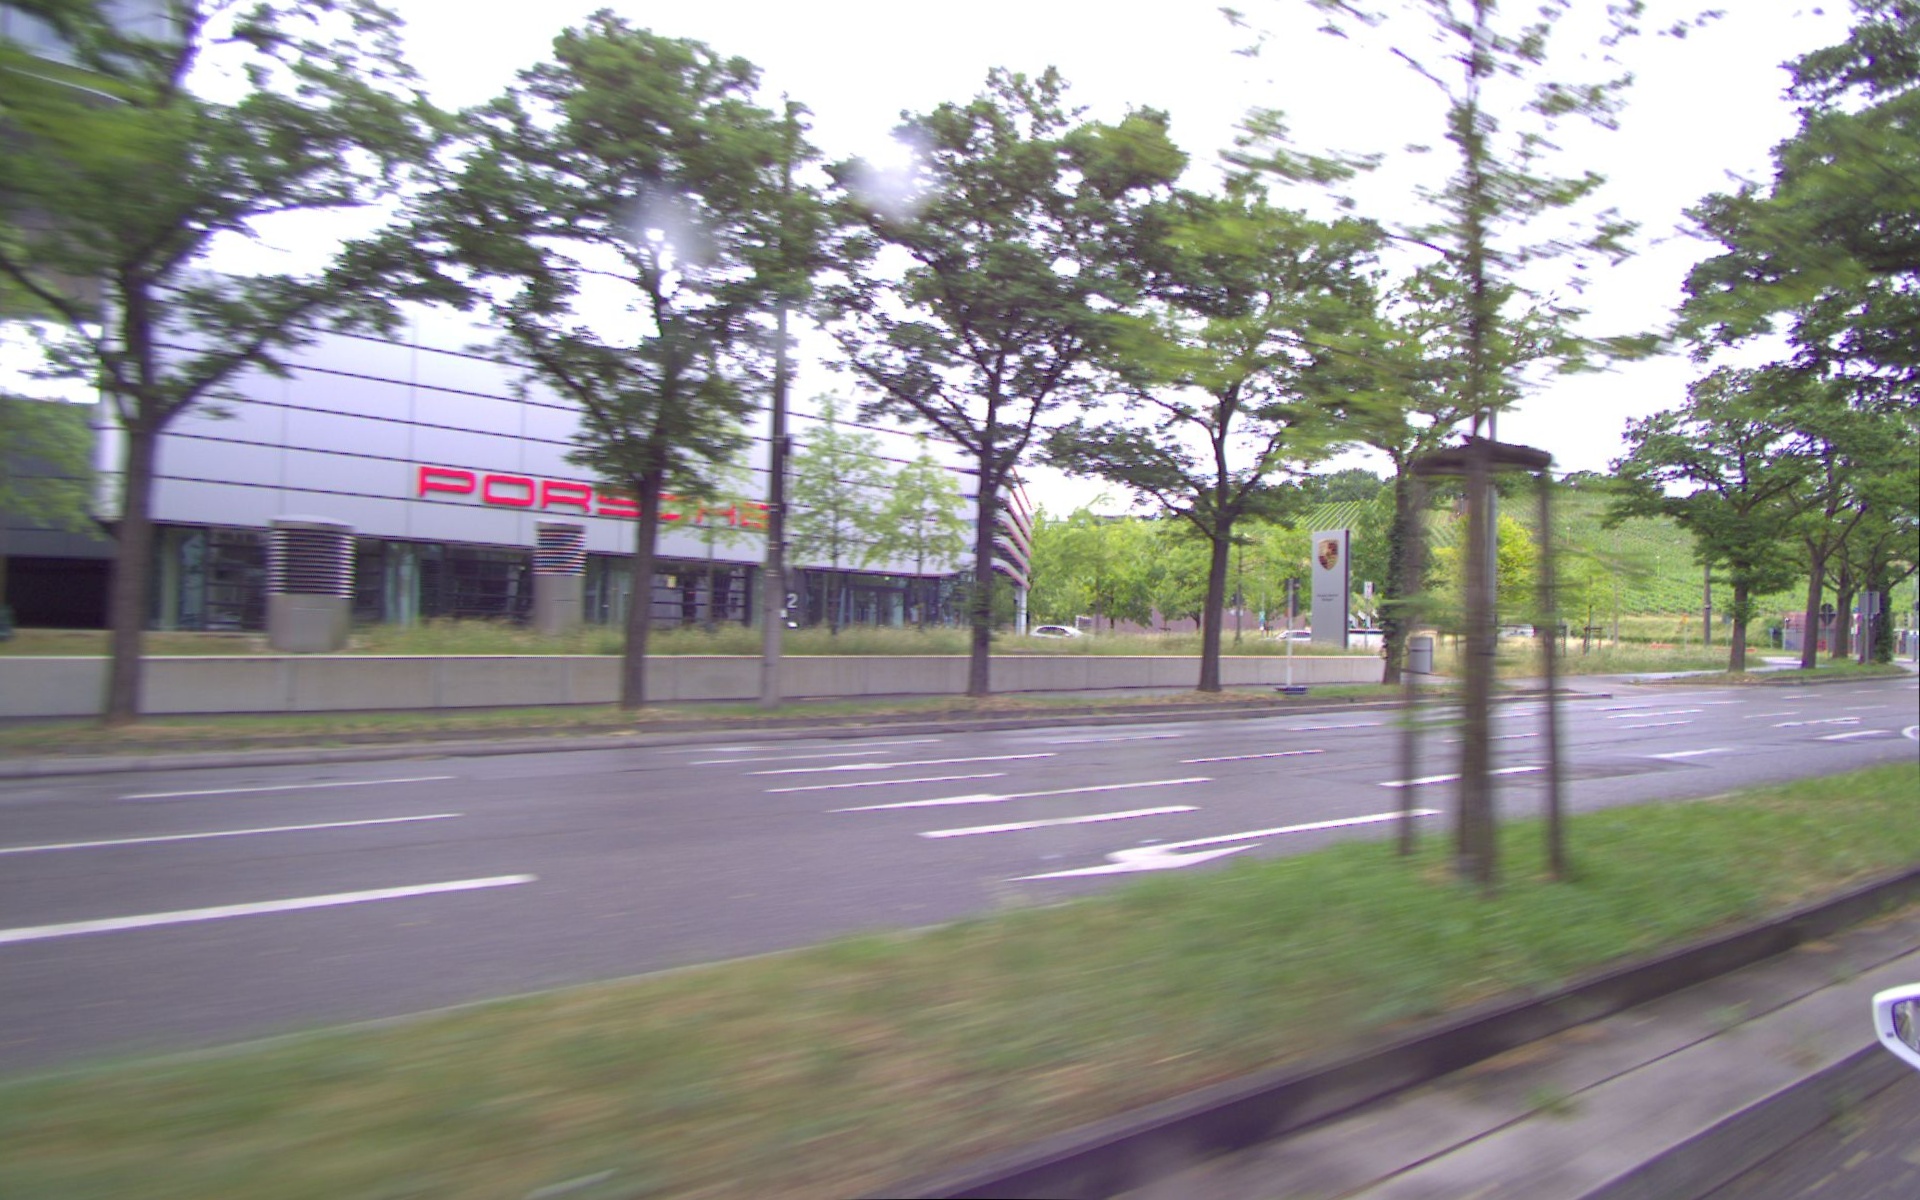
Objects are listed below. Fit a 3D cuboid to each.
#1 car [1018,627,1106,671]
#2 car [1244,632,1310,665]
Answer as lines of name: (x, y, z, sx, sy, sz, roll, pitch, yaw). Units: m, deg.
car: (4.953, 2.356, 49.093, 3.946, 2.040, 1.988, -2, -3, 44)
car: (20.171, 3.081, 64.114, 3.919, 2.040, 2.001, 0, -2, 14)
